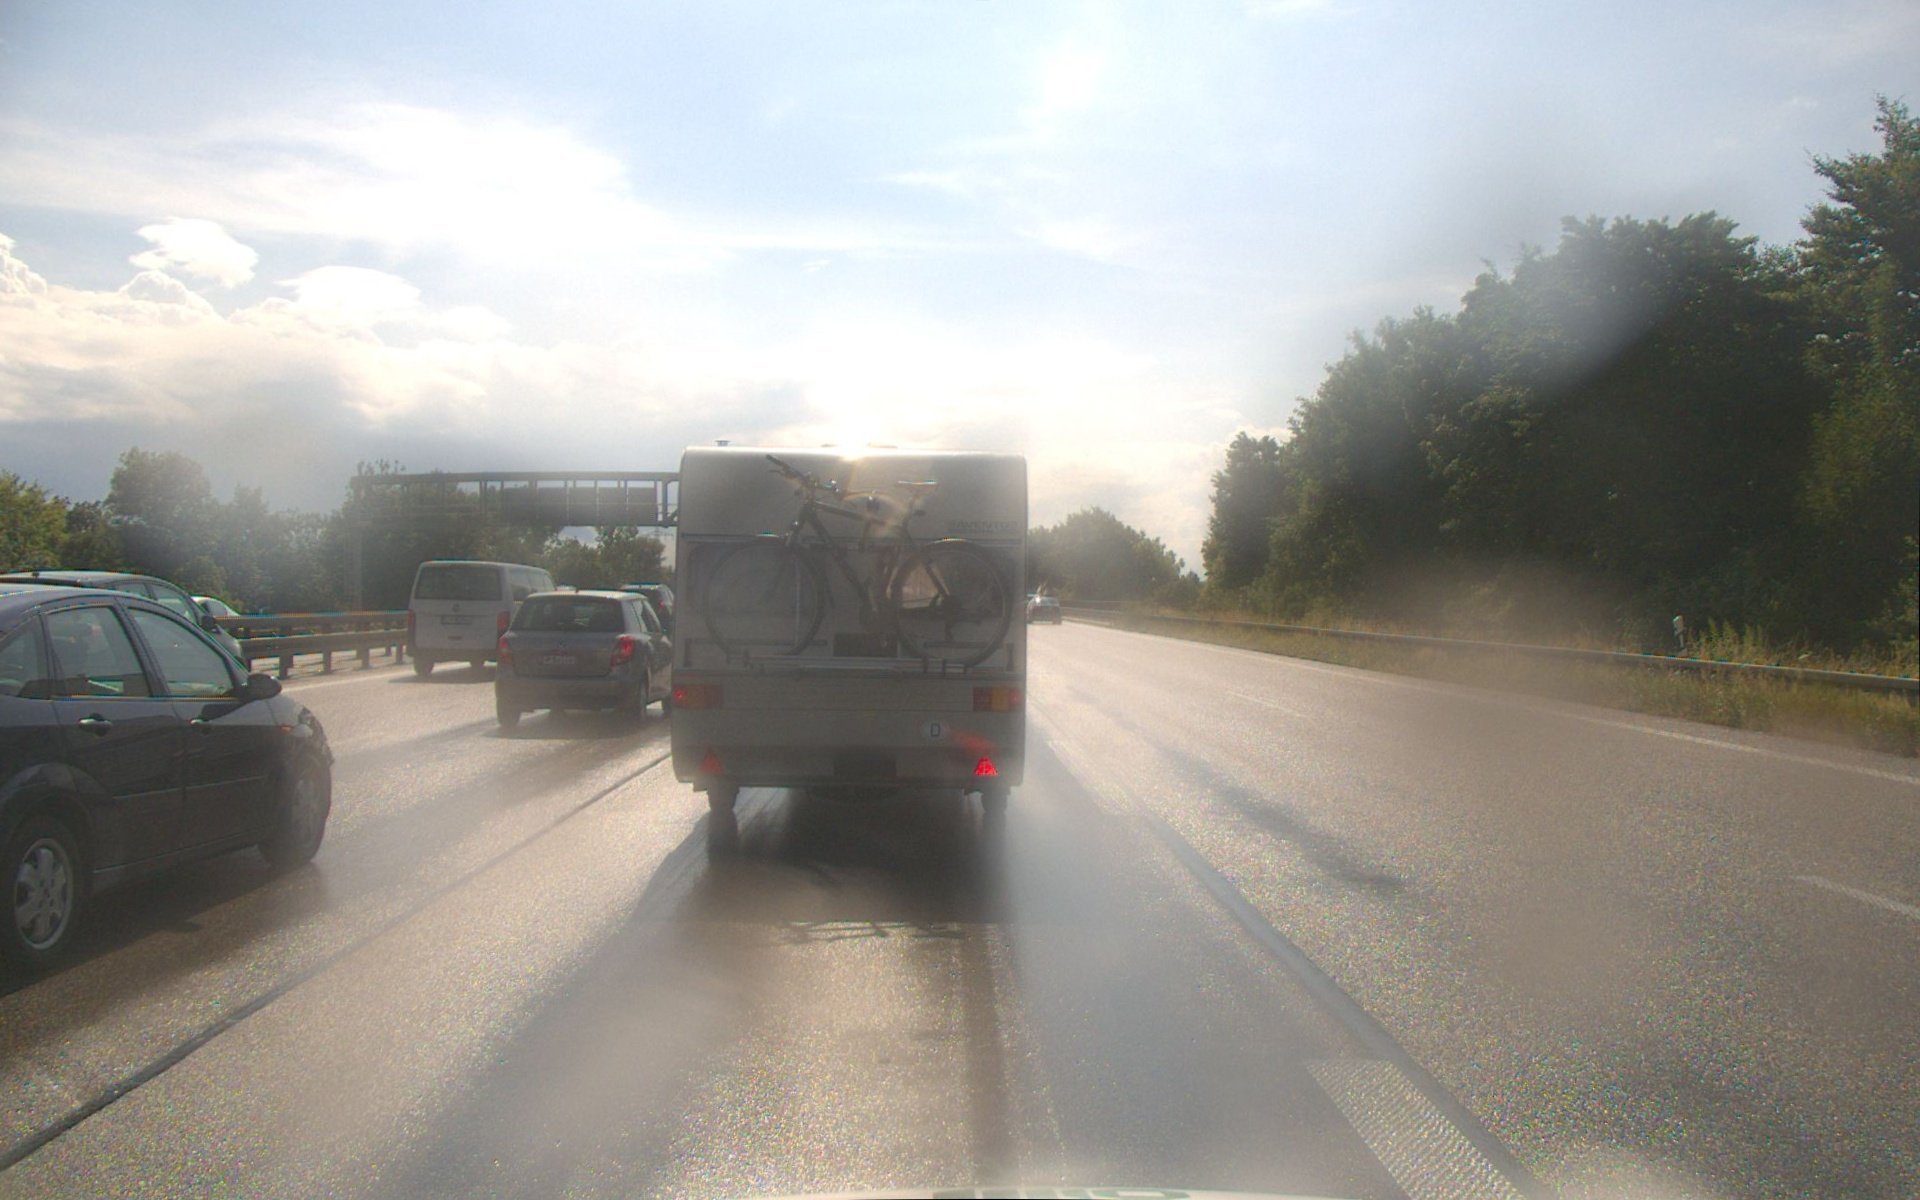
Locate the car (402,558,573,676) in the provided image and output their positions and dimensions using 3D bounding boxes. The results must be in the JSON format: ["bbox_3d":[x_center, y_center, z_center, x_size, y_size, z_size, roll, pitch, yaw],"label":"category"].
[{"bbox_3d":[-8.543,0.284,30.341,1.810,1.967,5.014,1,0,-2],"label":"car"}]

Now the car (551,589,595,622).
[{"bbox_3d":[-25.033,0.349,107.098,1.954,2.049,4.360,1,0,-3],"label":"car"}]

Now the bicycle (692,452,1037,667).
[{"bbox_3d":[-0.528,-0.224,9.345,1.894,1.161,0.384,1,0,0],"label":"bicycle"}]

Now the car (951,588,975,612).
[{"bbox_3d":[0.202,-0.020,121.127,1.684,1.713,4.000,1,0,0],"label":"car"}]

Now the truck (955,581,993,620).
[{"bbox_3d":[0.893,0.010,107.968,2.366,2.486,6.052,1,0,0],"label":"truck"}]

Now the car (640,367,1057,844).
[{"bbox_3d":[-0.653,0.038,11.546,2.361,2.721,3.999,1,0,-1],"label":"car"}]

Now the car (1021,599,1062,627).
[{"bbox_3d":[4.651,0.724,94.854,1.840,1.521,3.996,1,0,-5],"label":"car"}]

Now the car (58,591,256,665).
[{"bbox_3d":[-16.124,0.526,33.494,1.829,1.378,4.493,0,0,0],"label":"car"}]

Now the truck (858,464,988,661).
[{"bbox_3d":[-1.073,-0.909,45.090,3.083,4.707,10.731,0,0,-2],"label":"truck"}]

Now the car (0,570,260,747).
[{"bbox_3d":[-8.892,0.519,16.993,1.747,1.606,3.915,1,0,-1],"label":"car"}]

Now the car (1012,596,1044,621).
[{"bbox_3d":[4.628,0.552,112.791,1.839,1.657,3.998,1,0,-2],"label":"car"}]

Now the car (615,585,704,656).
[{"bbox_3d":[-7.544,0.496,41.868,1.736,1.691,3.997,1,0,-4],"label":"car"}]

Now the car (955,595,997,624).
[{"bbox_3d":[0.845,0.521,91.503,1.800,1.585,3.994,1,0,-7],"label":"car"}]

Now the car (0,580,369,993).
[{"bbox_3d":[-4.271,0.647,7.541,1.723,1.468,4.000,1,0,0],"label":"car"}]

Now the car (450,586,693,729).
[{"bbox_3d":[-4.407,0.599,19.362,1.947,1.483,3.826,1,0,0],"label":"car"}]

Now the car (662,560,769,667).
[{"bbox_3d":[-5.009,0.269,34.376,1.839,2.049,3.997,1,0,-4],"label":"car"}]
